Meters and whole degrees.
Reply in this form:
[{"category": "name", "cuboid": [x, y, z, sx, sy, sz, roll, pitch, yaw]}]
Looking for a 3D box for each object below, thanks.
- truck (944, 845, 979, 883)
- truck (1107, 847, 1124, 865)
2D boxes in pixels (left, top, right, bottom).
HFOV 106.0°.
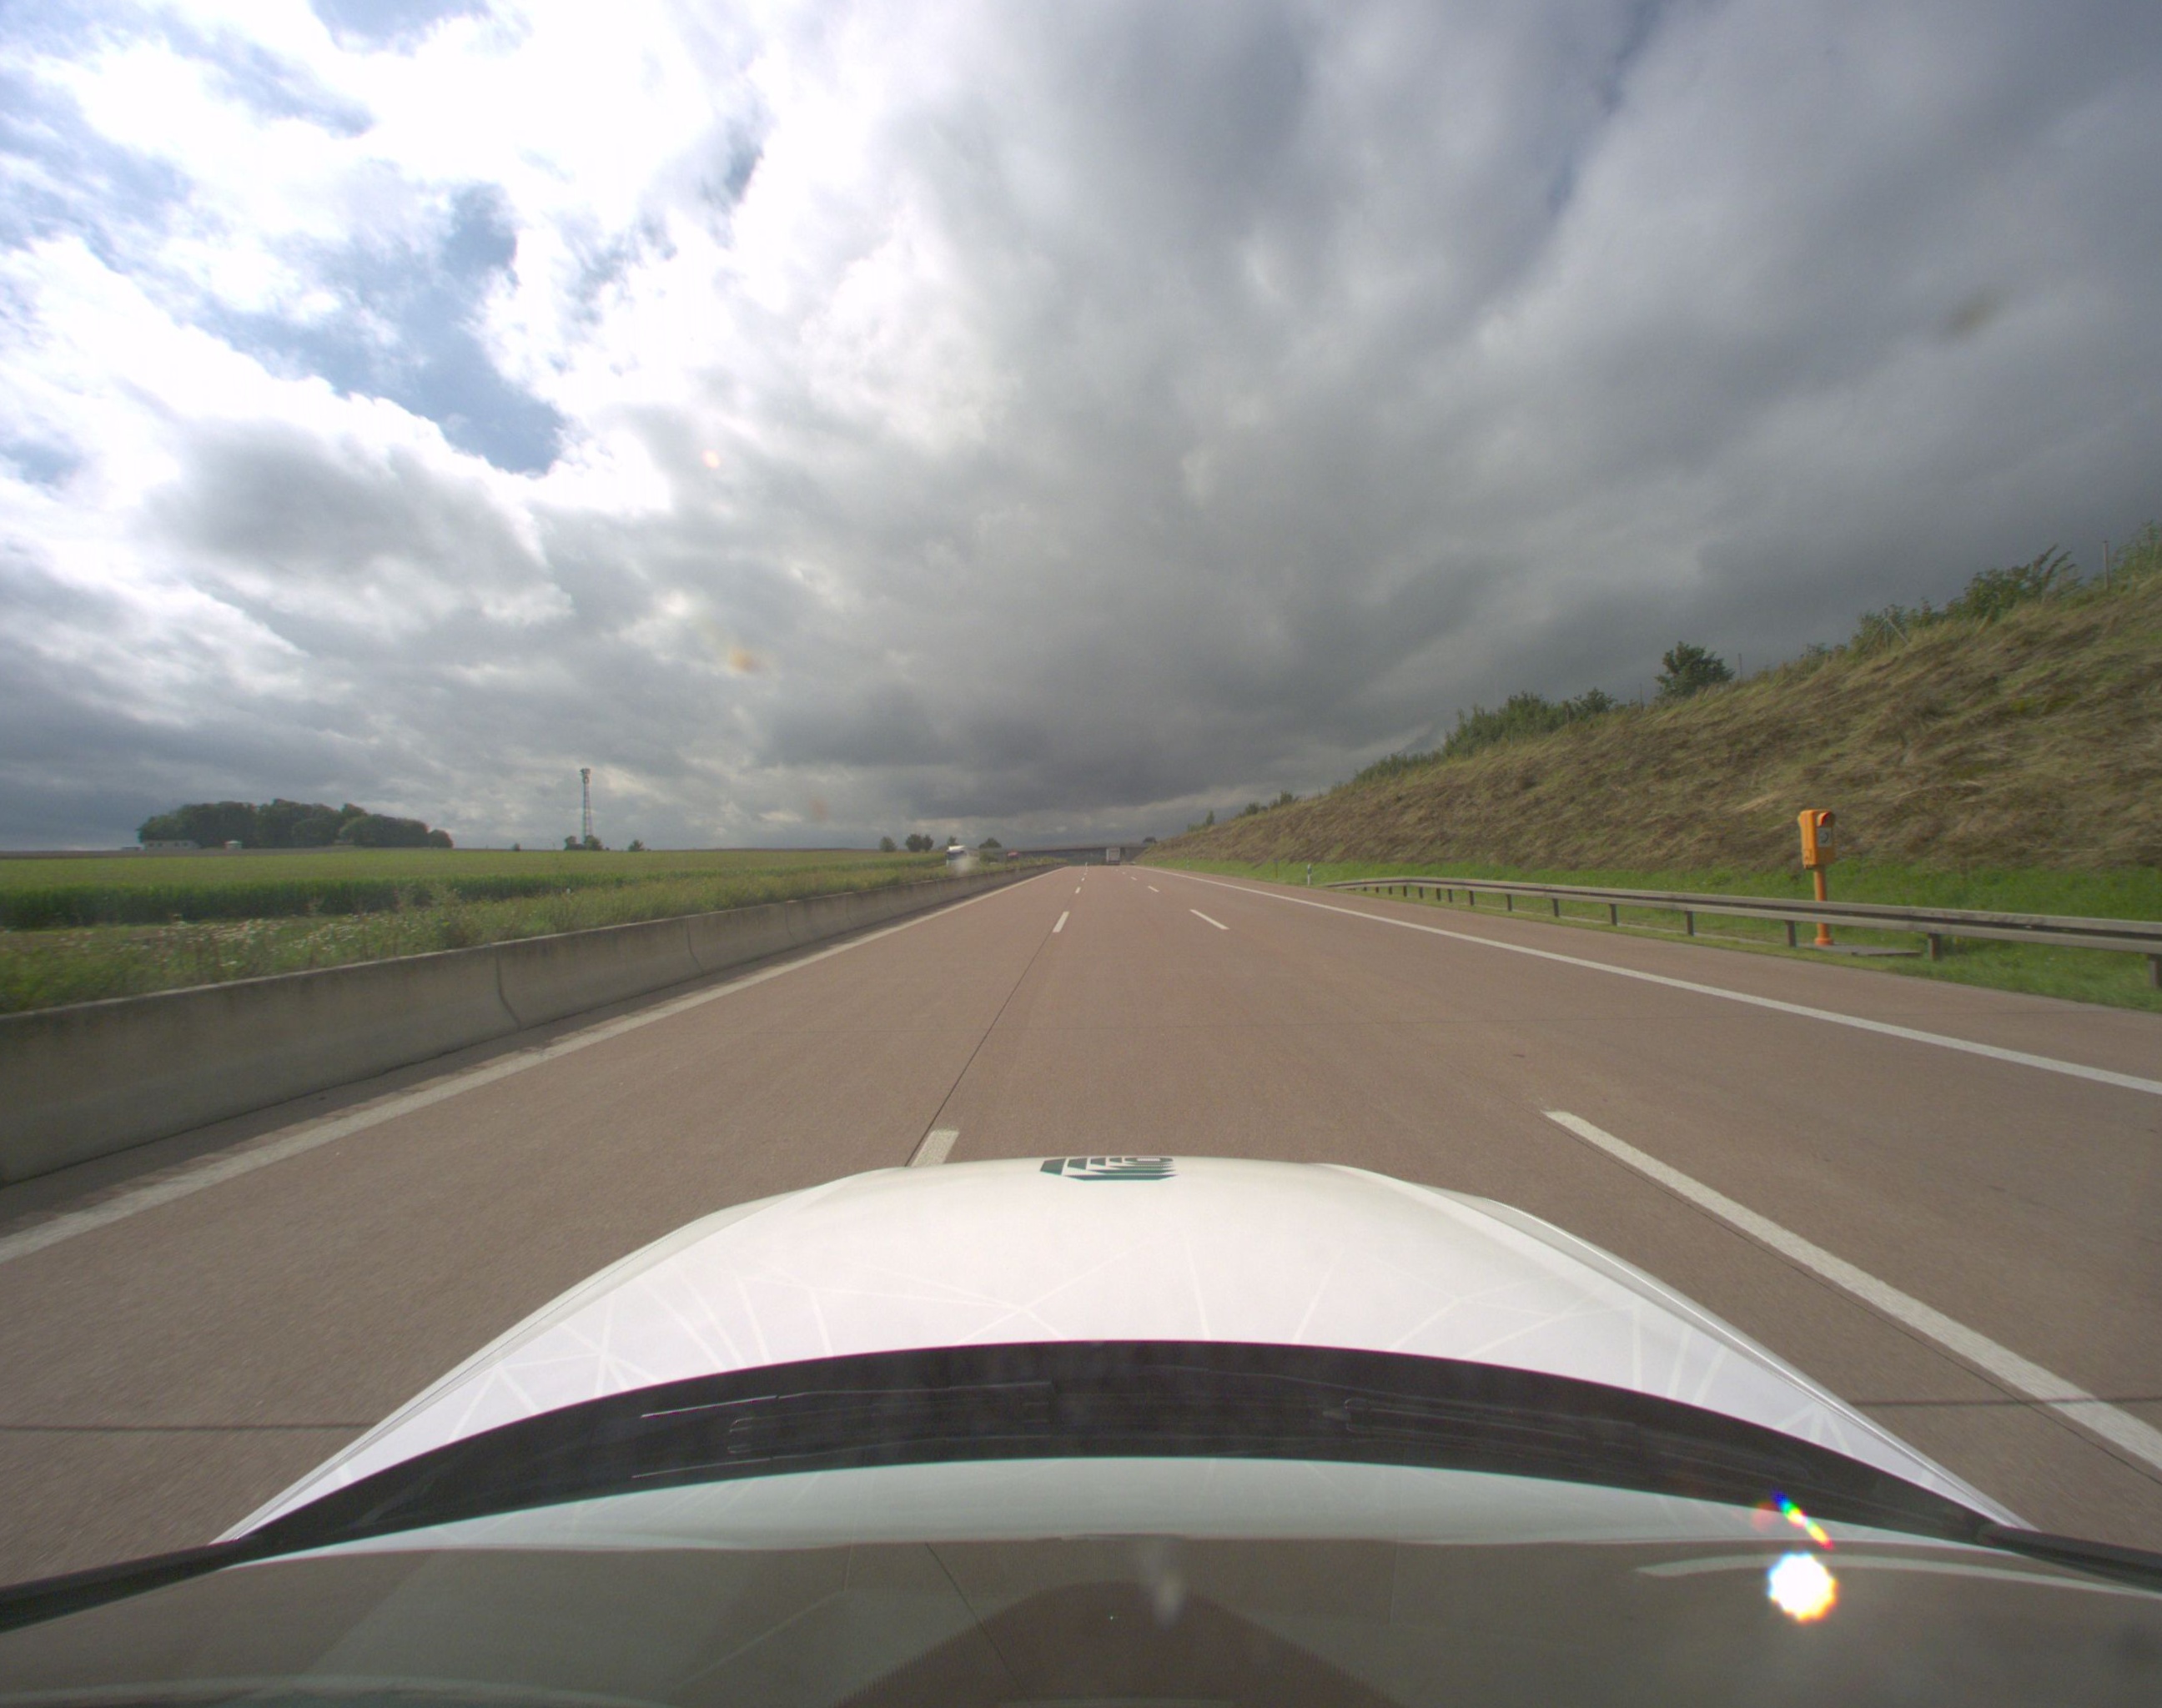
[{"category": "truck", "cuboid": [-16.535, 1.296, 113.625, 2.979, 5.065, 10.987, 0, 0, 1]}, {"category": "truck", "cuboid": [7.665, 0.329, 180.873, 3.603, 3.945, 11.180, 0, 0, 2]}]
